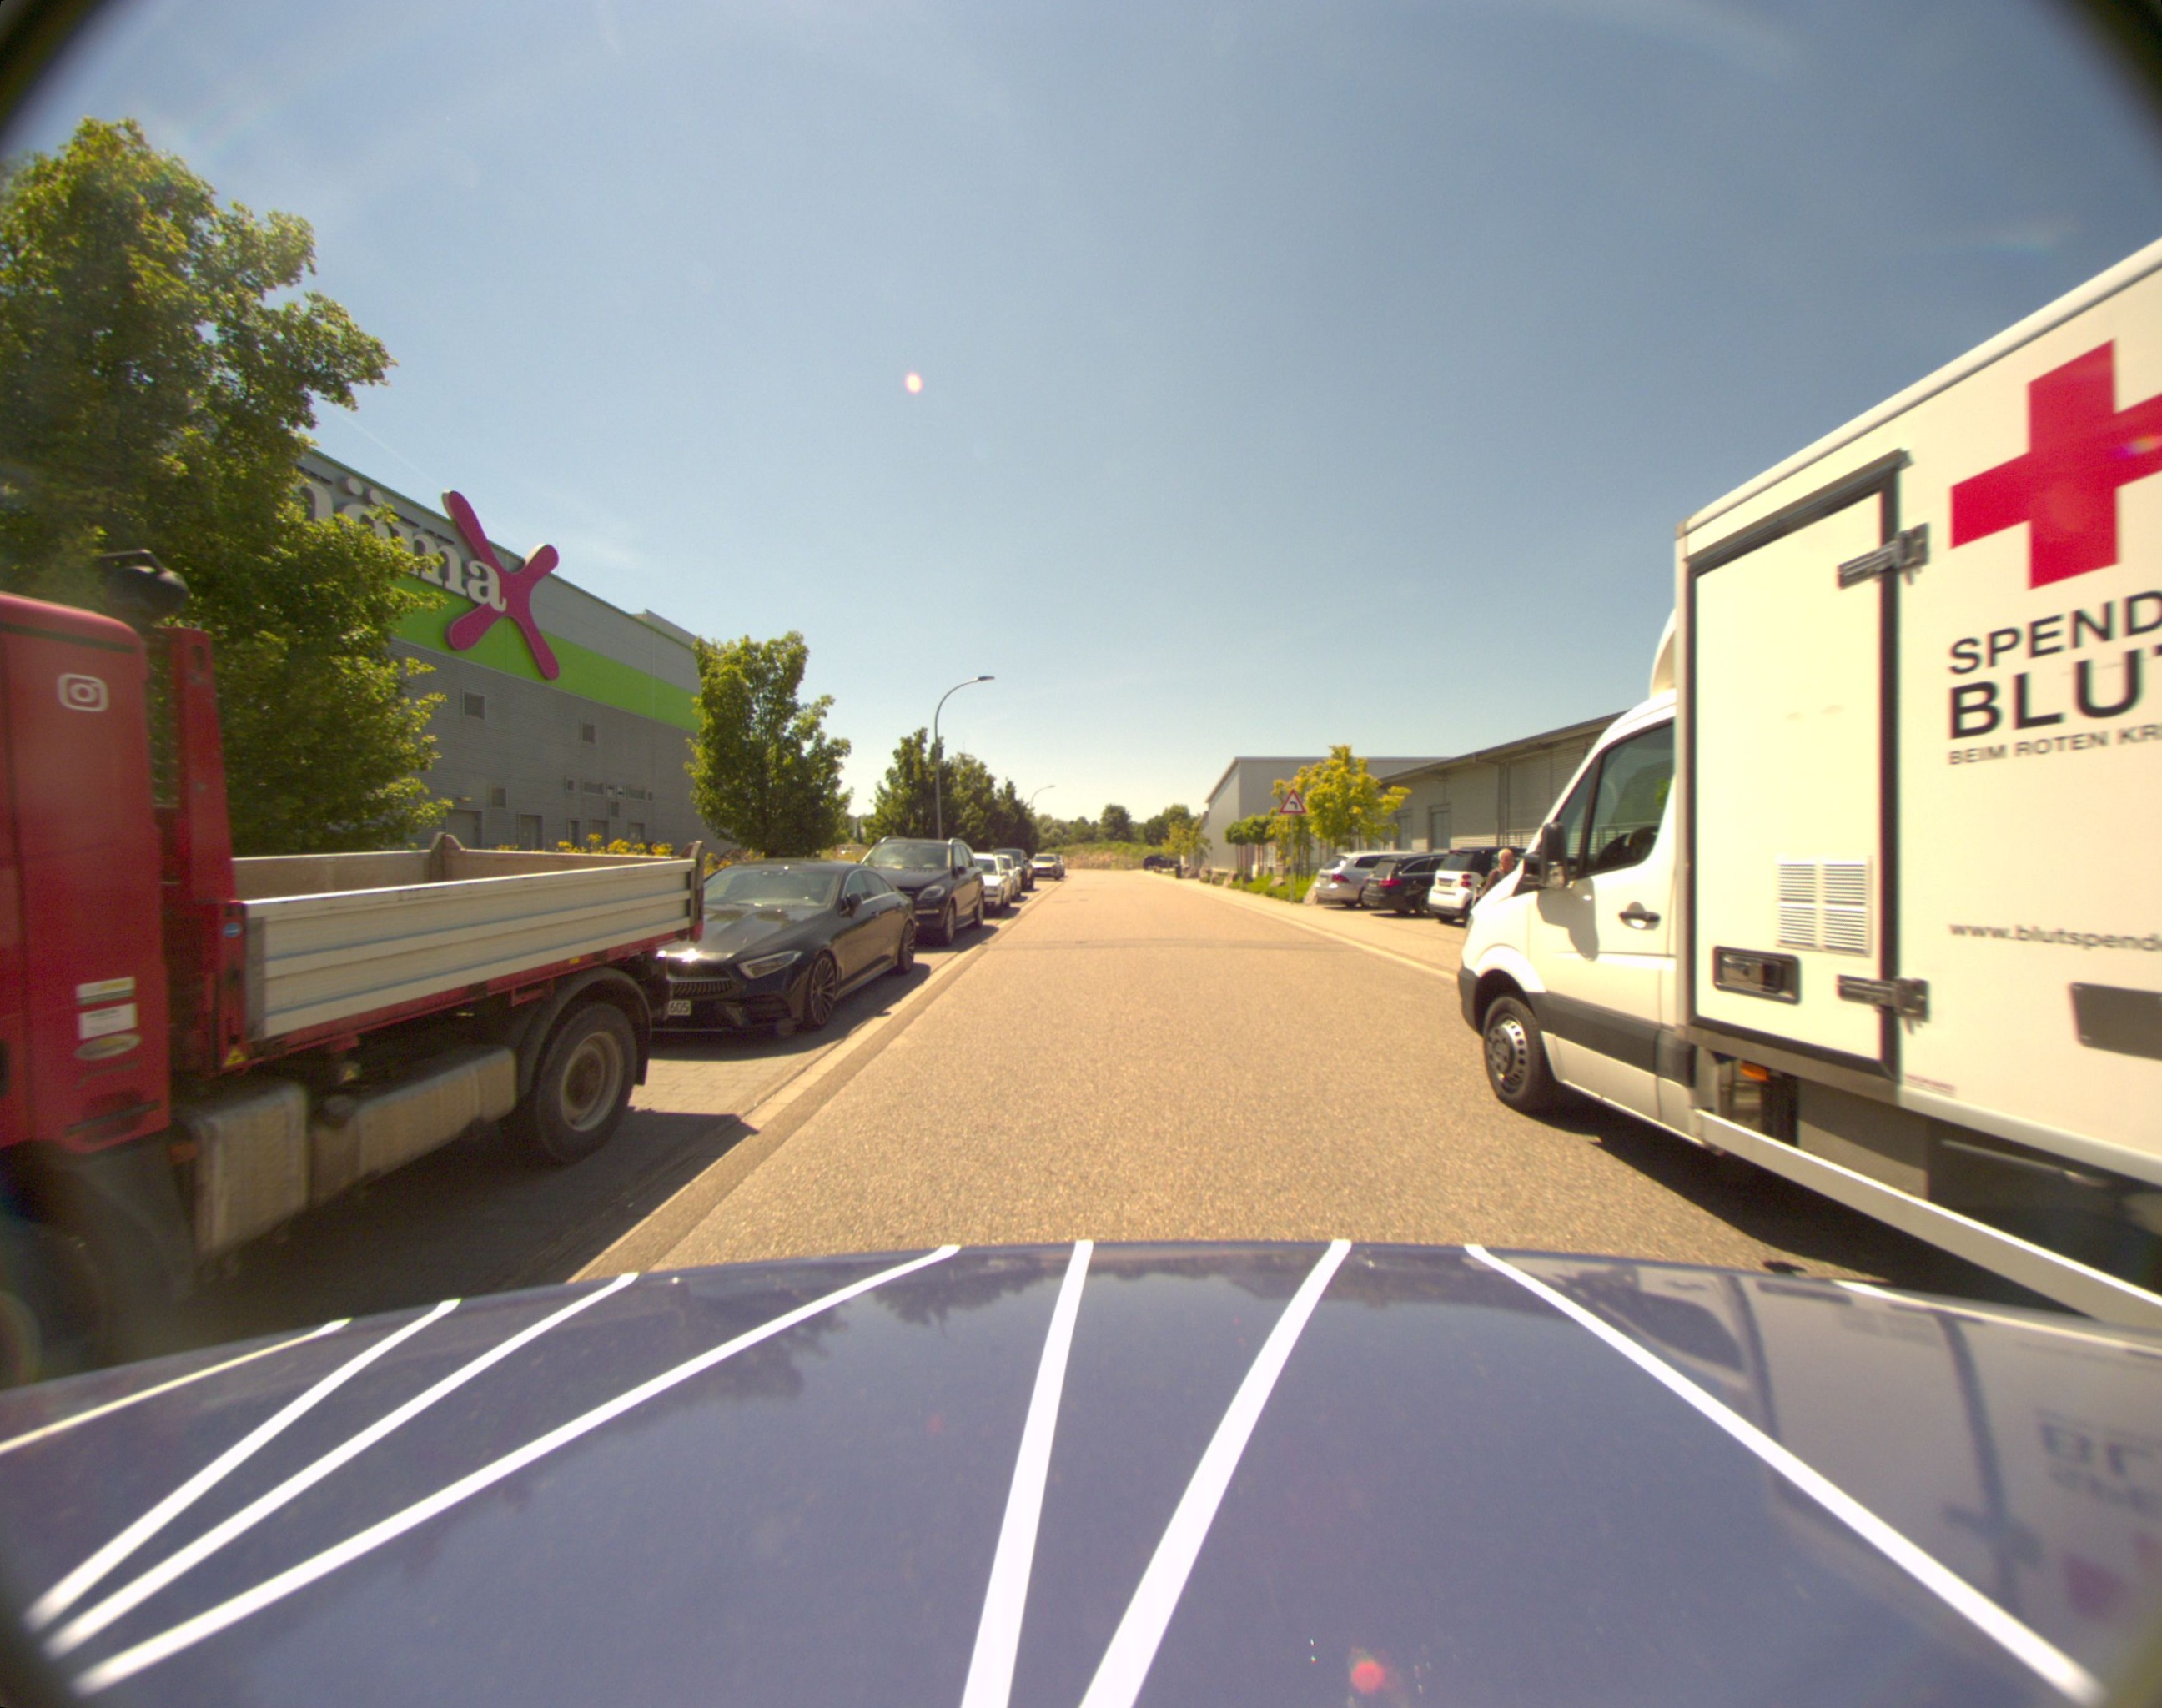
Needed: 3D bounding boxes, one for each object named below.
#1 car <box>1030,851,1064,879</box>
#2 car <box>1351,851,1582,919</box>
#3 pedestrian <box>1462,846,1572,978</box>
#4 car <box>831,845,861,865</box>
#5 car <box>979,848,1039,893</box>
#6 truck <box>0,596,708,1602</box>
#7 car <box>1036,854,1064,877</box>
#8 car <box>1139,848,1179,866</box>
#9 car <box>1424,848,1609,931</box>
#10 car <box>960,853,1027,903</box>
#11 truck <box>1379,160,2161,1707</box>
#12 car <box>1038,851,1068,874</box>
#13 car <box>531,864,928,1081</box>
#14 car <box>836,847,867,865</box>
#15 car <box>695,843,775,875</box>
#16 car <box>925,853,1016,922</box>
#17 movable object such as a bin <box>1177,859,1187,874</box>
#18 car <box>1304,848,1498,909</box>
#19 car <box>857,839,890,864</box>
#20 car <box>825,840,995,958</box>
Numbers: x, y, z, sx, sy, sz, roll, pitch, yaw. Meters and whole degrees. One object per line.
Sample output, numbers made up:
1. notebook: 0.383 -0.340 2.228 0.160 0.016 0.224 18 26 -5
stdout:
1. car: -2.102 0.680 48.224 1.809 1.626 4.458 2 0 1
2. car: 8.603 0.667 17.265 4.319 1.423 1.847 0 1 2
3. pedestrian: 5.441 0.700 9.539 0.901 1.565 0.785 -2 1 2
4. car: -26.048 0.056 84.396 1.952 2.132 4.400 0 1 -1
5. car: -2.942 0.639 31.985 1.953 1.691 4.545 2 0 1
6. truck: -3.142 0.506 2.395 1.683 2.169 4.390 2 1 1
7. car: -2.292 0.802 55.315 1.909 1.520 4.628 2 0 -3
8. car: 8.756 0.275 85.467 4.172 1.649 1.781 -5 1 1
9. car: 8.400 0.652 14.822 2.748 1.509 1.535 0 1 0
10. car: -2.830 0.736 25.416 1.809 1.474 4.772 2 0 -2
11. truck: 3.163 0.161 1.881 2.367 2.843 6.415 2 1 1
12. car: -2.180 0.663 61.068 2.149 1.688 4.785 2 0 1
13. car: -2.979 0.869 7.787 1.702 1.375 4.837 2 1 1
14. car: -24.055 0.187 79.661 1.952 1.776 4.400 0 1 -1
15. car: -17.483 0.229 38.602 1.998 1.490 4.401 1 0 1
16. car: -2.654 0.746 19.267 1.718 1.474 4.772 2 0 -2
17. movable object such as a bin: 6.716 0.820 50.690 0.572 0.944 0.512 -1 0 -5
18. car: 8.243 0.599 19.849 4.273 1.509 1.866 0 1 0
19. car: -23.281 -0.269 85.310 1.998 2.727 4.752 1 1 5
20. car: -2.823 0.672 13.706 1.815 1.715 4.774 2 0 2
